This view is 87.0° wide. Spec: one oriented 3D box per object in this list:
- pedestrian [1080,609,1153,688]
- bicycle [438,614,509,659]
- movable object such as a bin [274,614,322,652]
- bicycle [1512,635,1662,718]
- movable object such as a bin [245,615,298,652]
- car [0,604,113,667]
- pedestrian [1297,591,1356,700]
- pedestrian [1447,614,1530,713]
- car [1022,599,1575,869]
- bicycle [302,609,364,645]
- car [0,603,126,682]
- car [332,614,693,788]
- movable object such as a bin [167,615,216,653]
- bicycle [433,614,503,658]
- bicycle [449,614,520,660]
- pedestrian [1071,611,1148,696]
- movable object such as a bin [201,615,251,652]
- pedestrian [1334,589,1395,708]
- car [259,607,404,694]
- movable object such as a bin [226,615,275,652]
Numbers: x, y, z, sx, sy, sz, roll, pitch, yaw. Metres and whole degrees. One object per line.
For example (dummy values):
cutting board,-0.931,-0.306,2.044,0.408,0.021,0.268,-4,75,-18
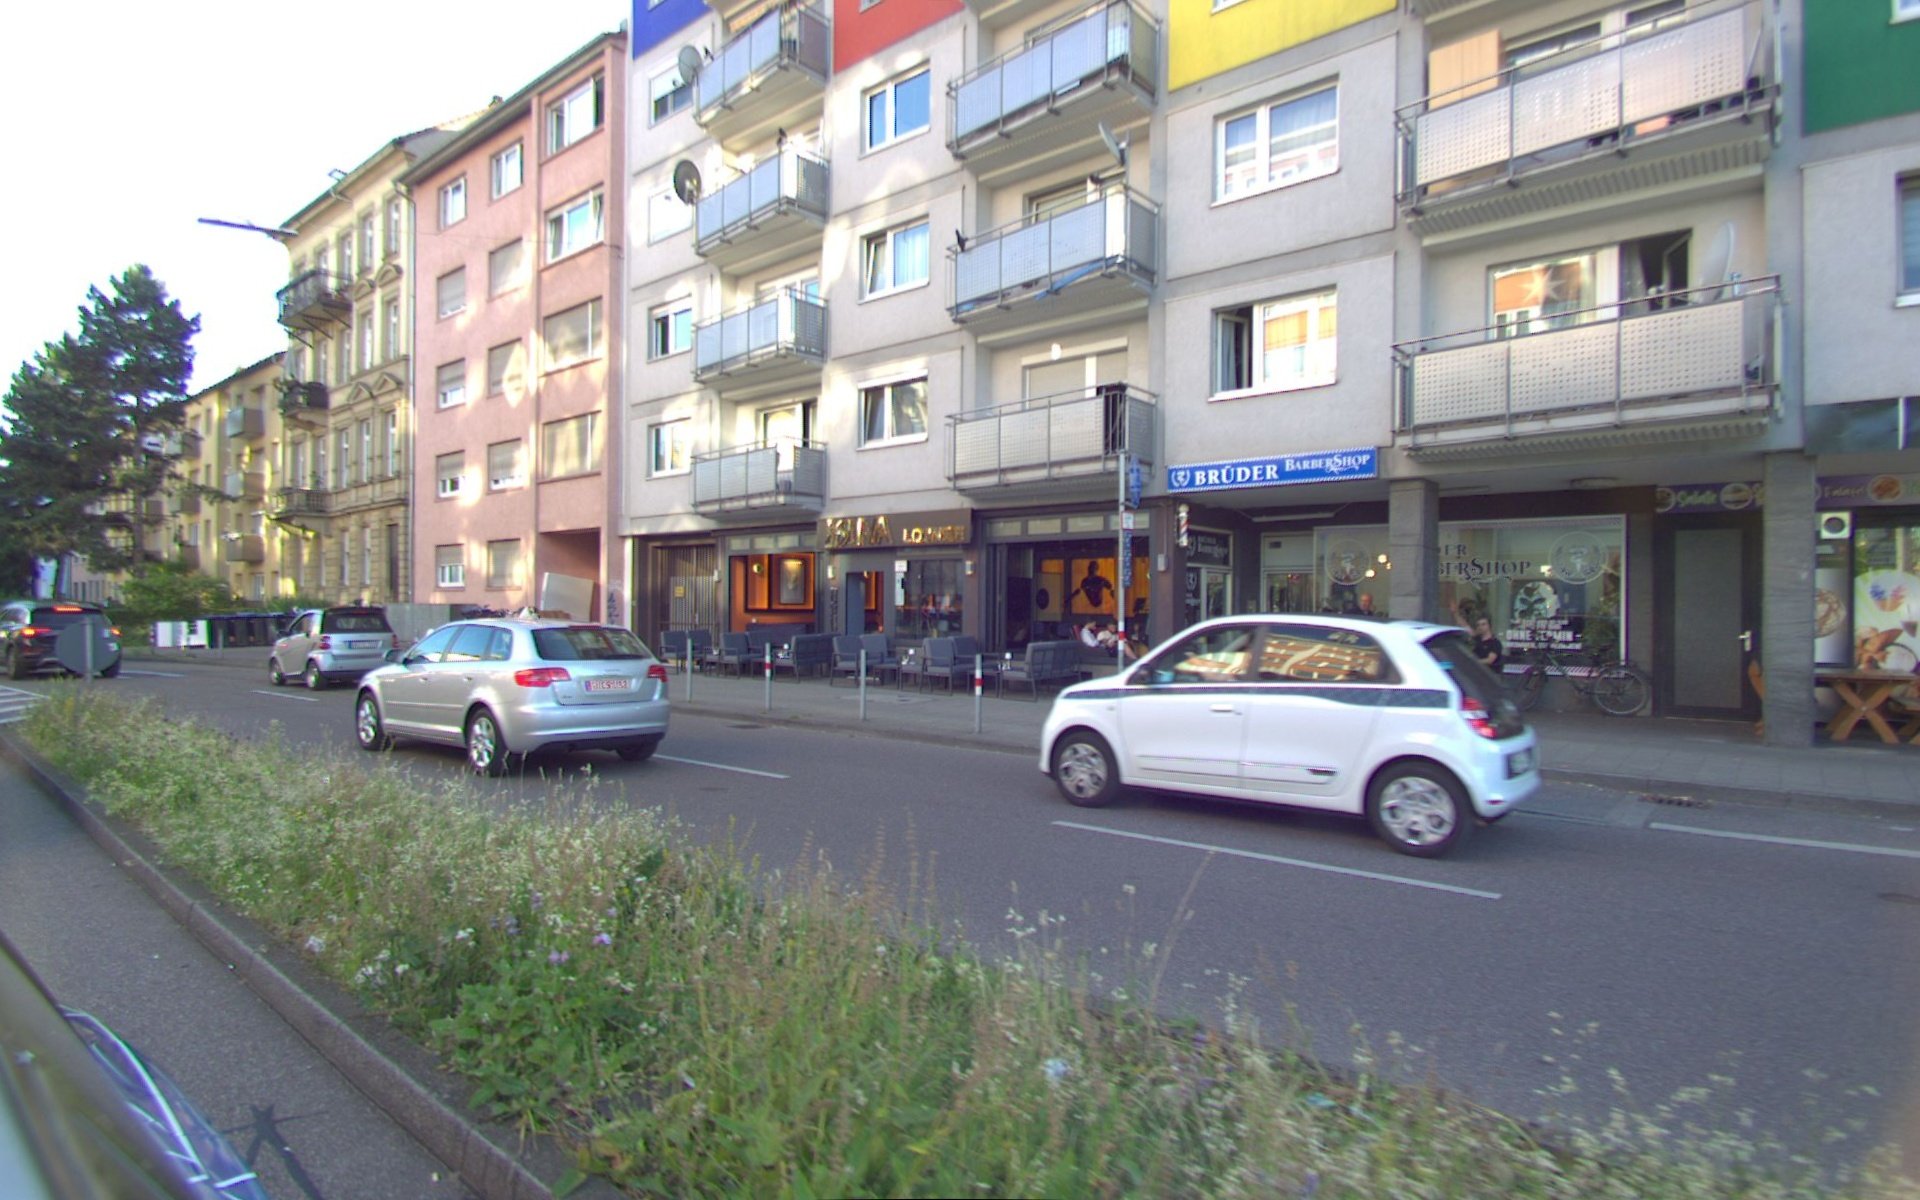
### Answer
pedestrian,2.788,0.842,18.039,0.974,1.356,0.871,-1,-1,41
bicycle,-13.589,1.004,28.318,0.473,1.200,1.758,-1,-1,38
movable object such as a bin,-22.333,1.110,34.163,0.837,1.242,1.193,0,-1,1
bicycle,8.448,1.007,13.699,1.692,1.006,0.620,0,-1,32
movable object such as a bin,-23.261,1.117,34.221,0.916,1.242,1.292,0,-1,1
car,-25.525,0.951,27.705,4.069,1.641,1.714,0,-2,19
pedestrian,5.096,0.624,14.109,0.651,1.478,0.624,0,-1,8
pedestrian,7.272,0.864,13.945,0.799,1.323,0.626,0,-1,-3
car,2.422,0.825,7.689,3.635,1.556,1.658,-1,-3,40
bicycle,-21.380,0.917,34.541,0.473,1.200,1.758,-1,-1,38
car,-19.689,0.877,21.726,4.092,1.556,1.661,-1,-2,34
car,-4.691,0.889,10.357,4.098,1.436,1.691,-1,-3,39
movable object such as a bin,-25.982,1.147,34.253,0.836,1.242,1.195,0,-1,-7
bicycle,-13.974,1.003,28.758,0.473,1.200,1.758,-1,-1,38
bicycle,-13.050,0.996,27.820,0.473,1.200,1.758,-1,-1,38
pedestrian,2.476,0.858,16.729,0.882,1.356,0.961,-1,-1,41
movable object such as a bin,-25.055,1.134,34.578,0.837,1.242,1.193,0,-1,1
pedestrian,5.860,0.691,14.695,0.650,1.685,0.624,0,-1,5
car,-12.460,0.968,20.040,2.804,1.605,1.520,-1,-3,38
movable object such as a bin,-24.186,1.126,34.513,0.837,1.242,1.193,0,-1,1
